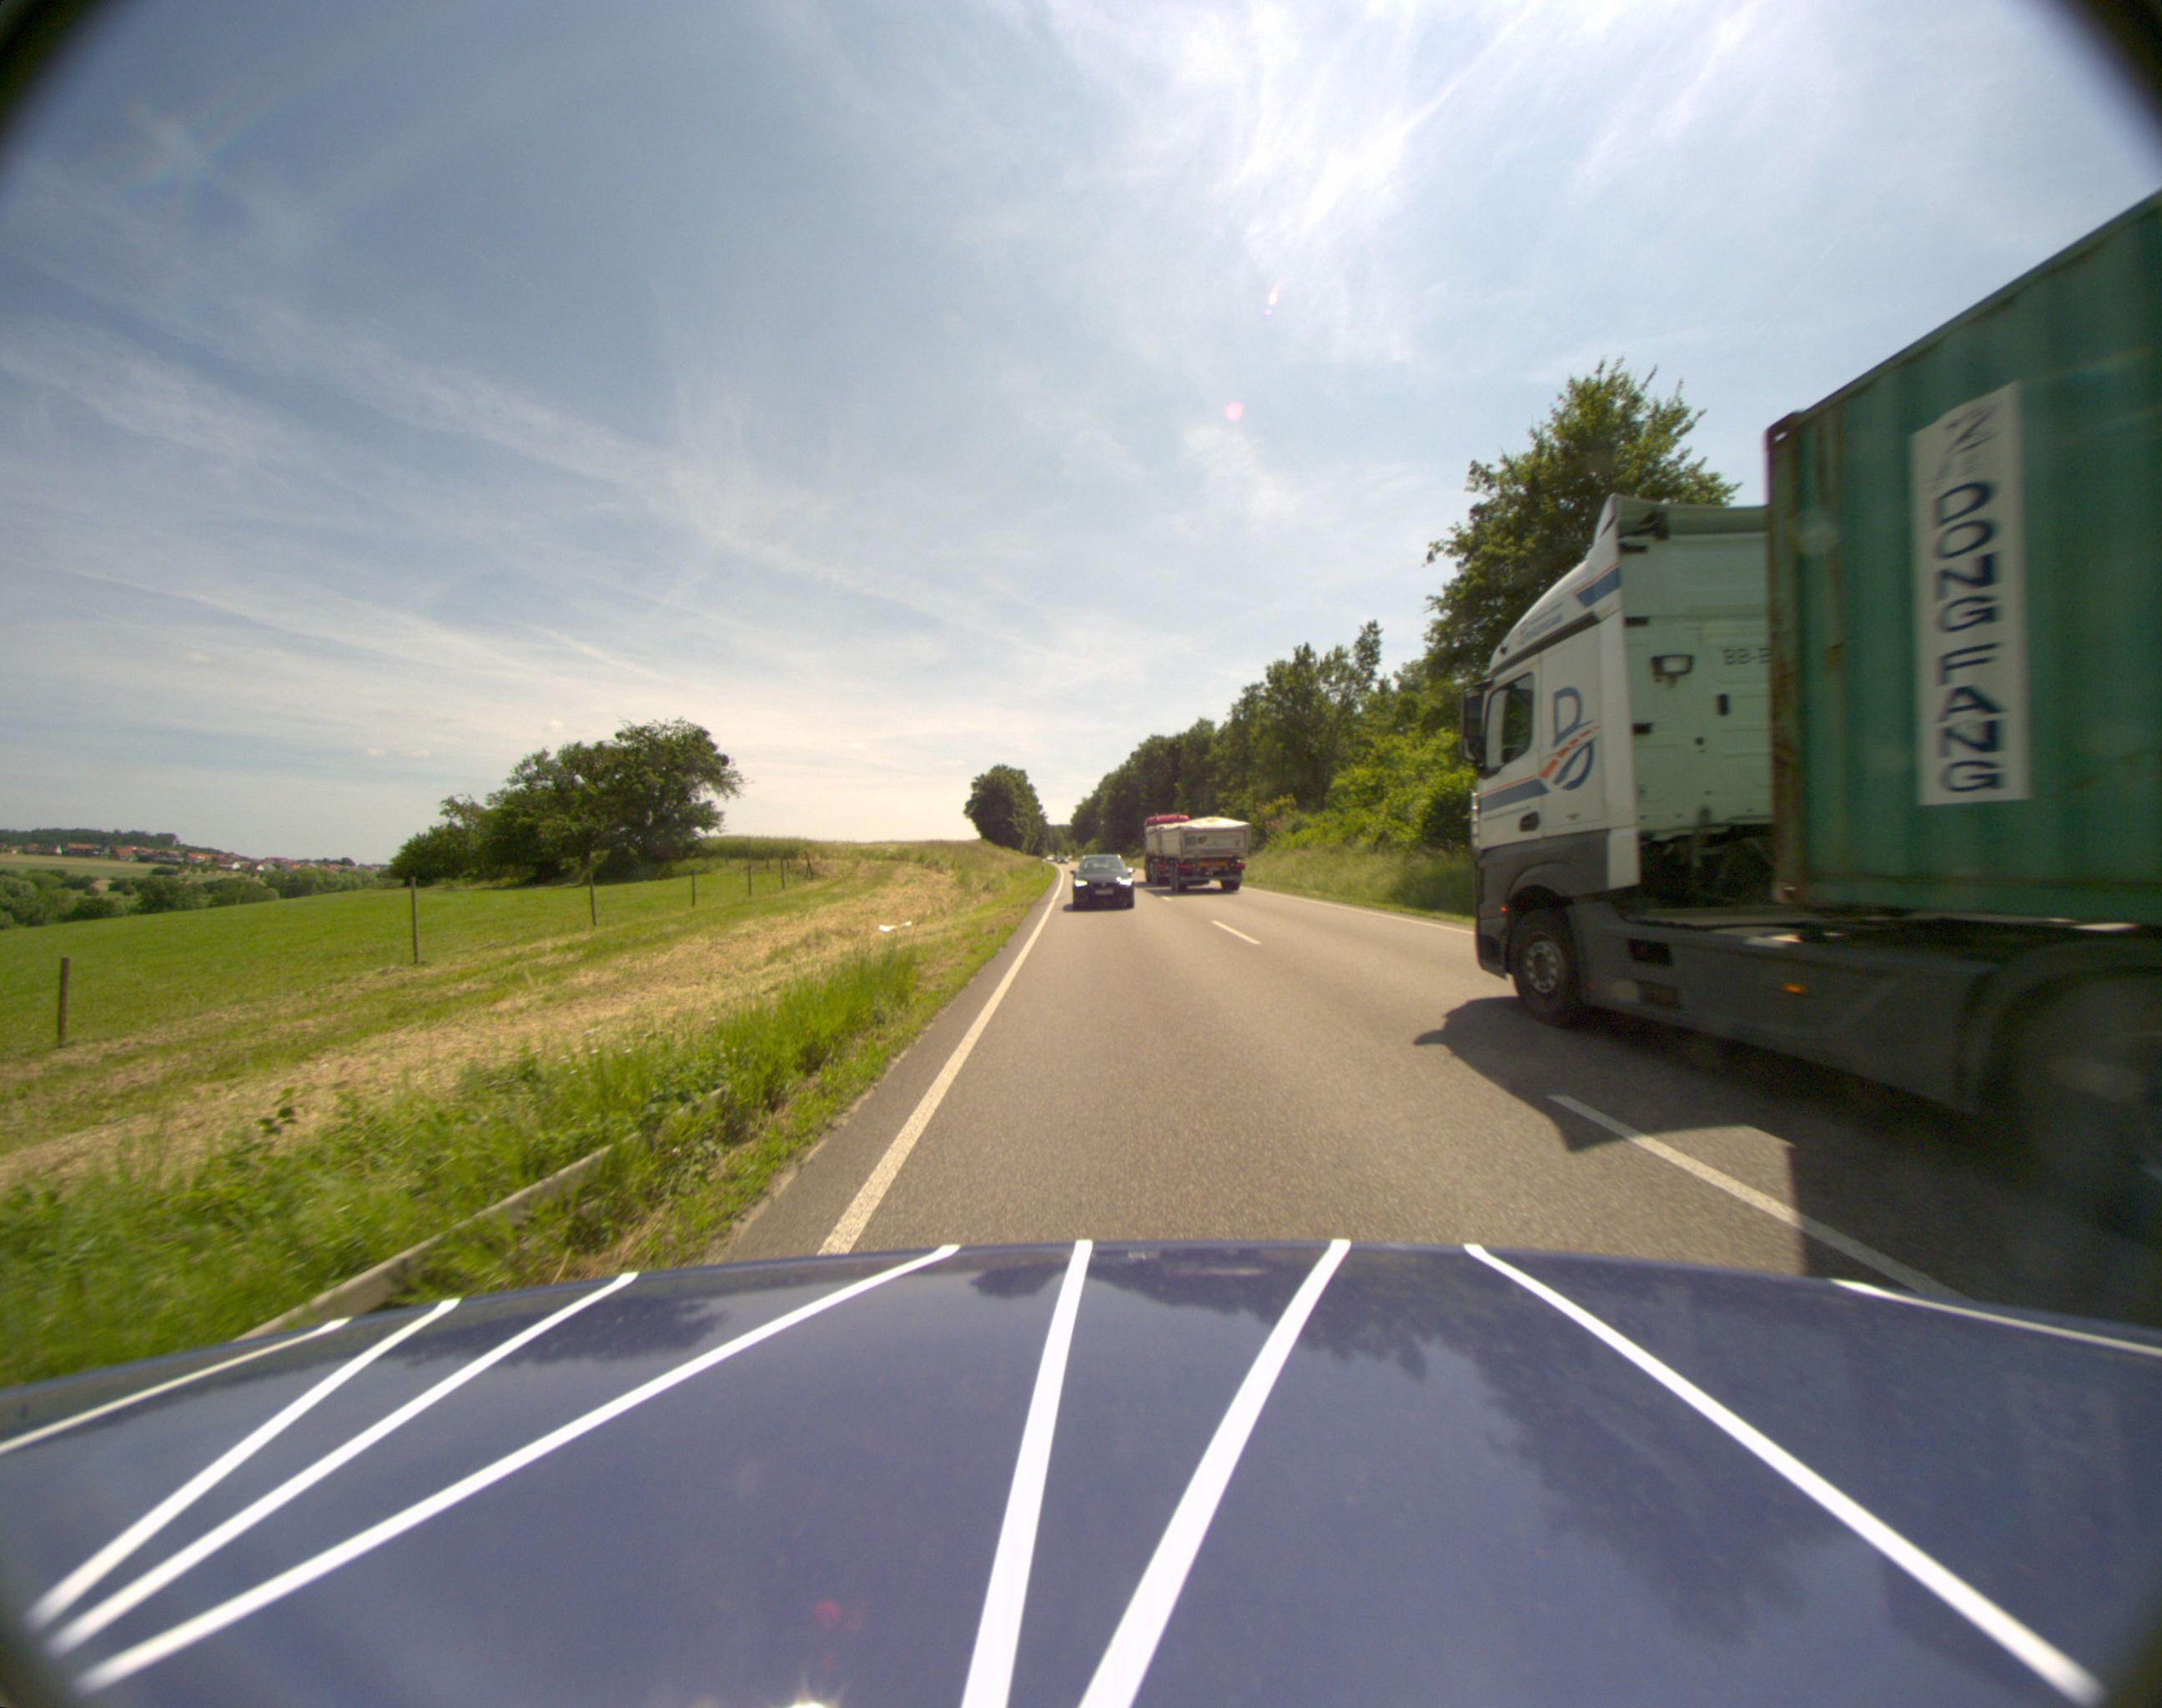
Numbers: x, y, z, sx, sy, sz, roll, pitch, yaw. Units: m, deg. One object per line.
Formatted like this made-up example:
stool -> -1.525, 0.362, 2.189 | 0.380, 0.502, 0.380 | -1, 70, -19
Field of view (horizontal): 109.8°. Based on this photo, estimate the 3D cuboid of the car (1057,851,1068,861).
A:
car -> -4.161, 0.400, 167.478 | 1.999, 2.002, 3.998 | -3, 0, -6

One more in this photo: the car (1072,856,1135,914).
car -> 0.625, 0.849, 22.365 | 1.662, 1.531, 3.486 | -1, 0, 0

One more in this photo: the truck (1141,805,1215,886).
truck -> 4.661, -0.406, 37.888 | 2.537, 3.539, 7.760 | -1, 1, -1

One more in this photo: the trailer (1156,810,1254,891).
trailer -> 4.819, -0.152, 30.890 | 2.650, 2.856, 7.075 | -1, 1, -1

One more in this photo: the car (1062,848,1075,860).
car -> -2.253, 0.041, 132.699 | 1.999, 2.002, 3.998 | -3, 0, -4
